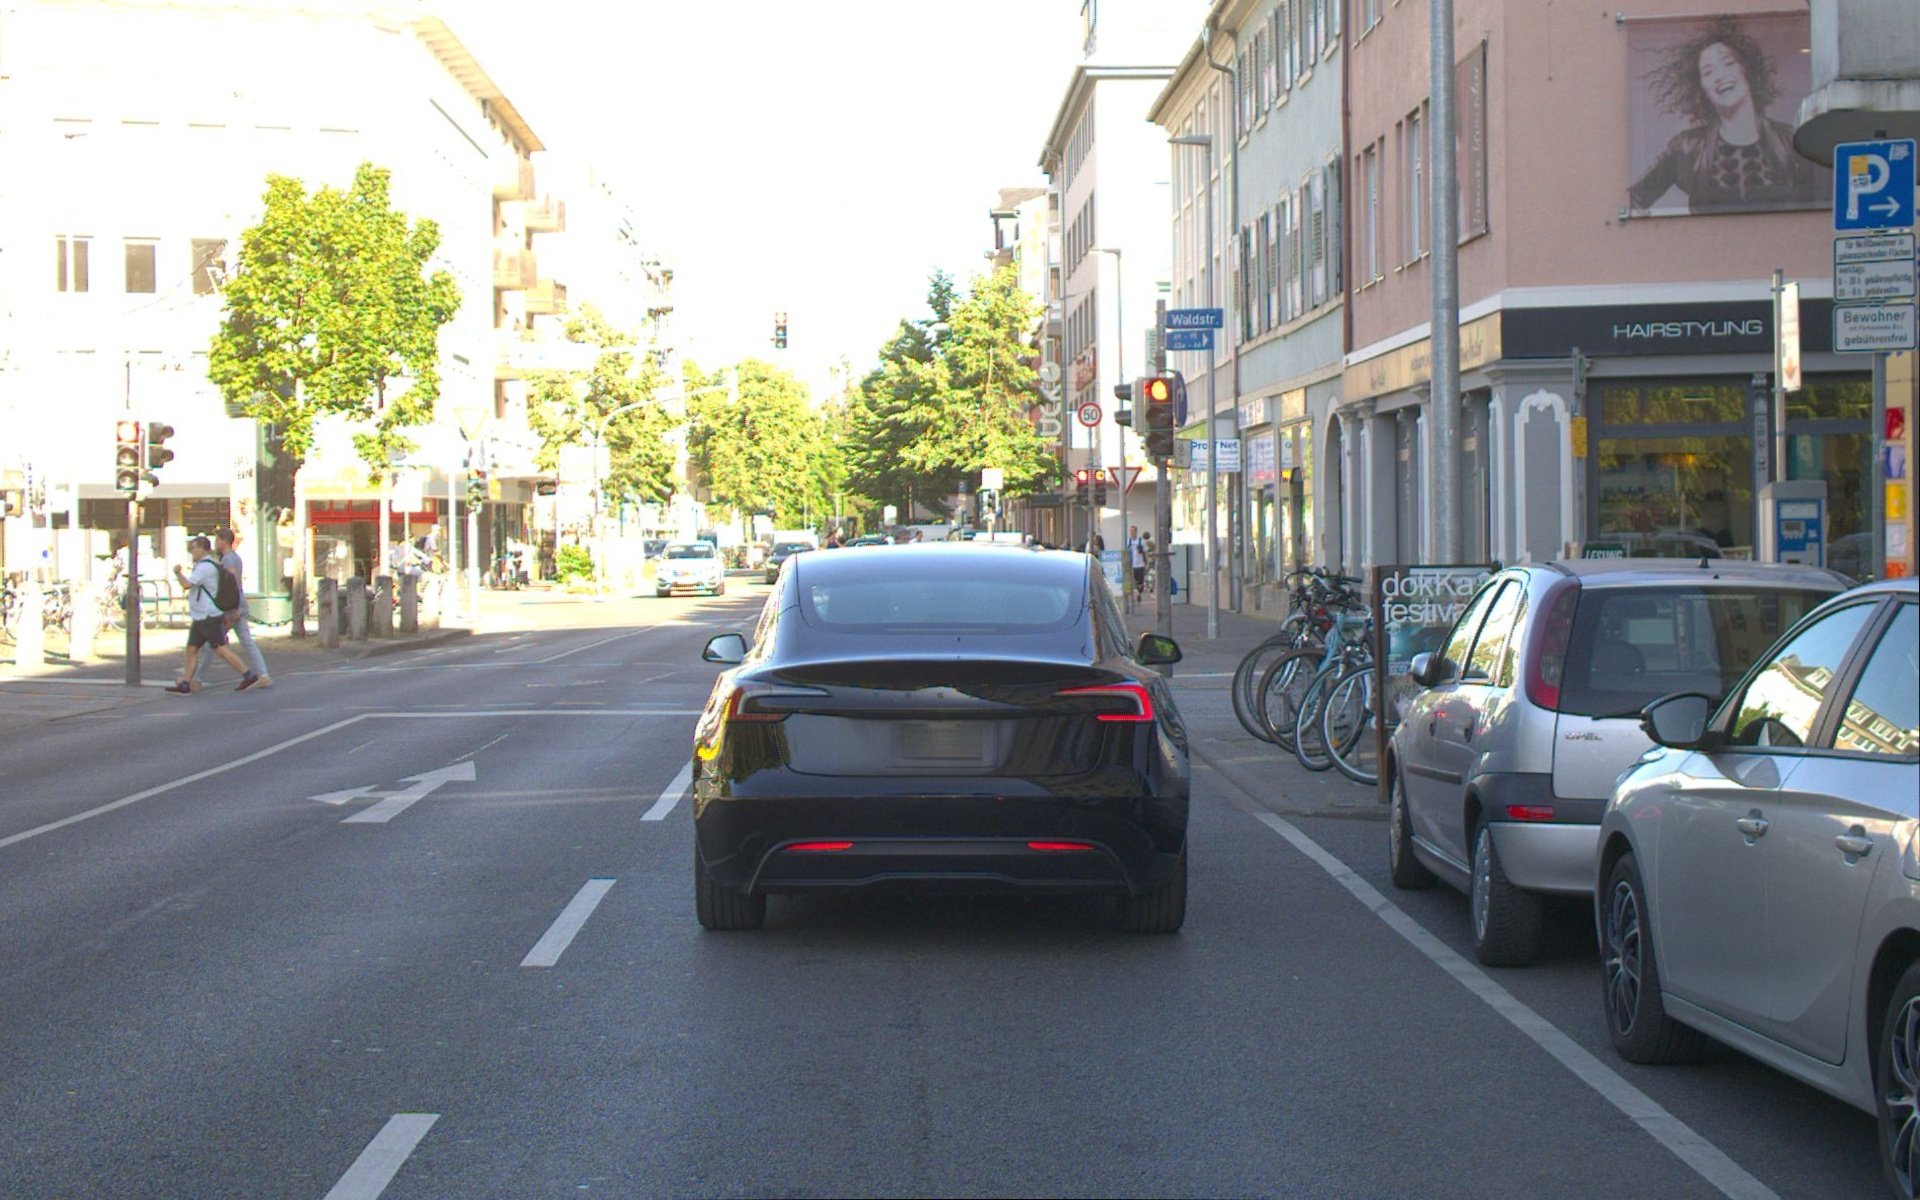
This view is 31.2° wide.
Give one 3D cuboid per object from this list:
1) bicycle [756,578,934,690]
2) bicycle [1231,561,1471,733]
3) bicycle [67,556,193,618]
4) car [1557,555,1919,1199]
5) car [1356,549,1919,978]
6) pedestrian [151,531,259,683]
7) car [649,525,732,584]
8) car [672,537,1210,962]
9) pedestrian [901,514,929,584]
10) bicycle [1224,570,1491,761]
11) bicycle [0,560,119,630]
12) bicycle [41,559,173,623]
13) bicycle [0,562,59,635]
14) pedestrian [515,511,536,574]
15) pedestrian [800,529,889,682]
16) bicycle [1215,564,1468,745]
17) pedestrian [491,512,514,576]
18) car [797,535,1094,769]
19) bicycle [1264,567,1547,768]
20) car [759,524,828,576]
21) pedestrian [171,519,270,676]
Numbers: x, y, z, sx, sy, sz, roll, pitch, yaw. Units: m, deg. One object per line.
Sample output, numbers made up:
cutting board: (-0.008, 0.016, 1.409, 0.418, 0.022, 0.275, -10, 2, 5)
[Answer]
bicycle: (-1.098, 0.319, 32.886, 1.616, 1.041, 0.591, 1, 1, 9)
bicycle: (2.771, 0.330, 24.426, 1.628, 1.156, 0.433, -2, 1, 1)
bicycle: (-14.941, -0.238, 61.908, 2.082, 1.100, 0.806, 0, 1, 0)
car: (2.727, 0.616, 8.552, 1.670, 1.422, 4.078, 0, 1, -2)
car: (2.551, 0.511, 13.269, 1.622, 1.389, 3.886, 0, 1, 0)
pedestrian: (-8.214, 0.069, 37.408, 0.986, 1.631, 0.737, 0, 1, 3)
car: (-7.643, -1.313, 97.912, 1.993, 1.535, 4.000, -4, 1, 0)
car: (-0.052, 0.481, 13.730, 1.850, 1.450, 3.786, 0, 1, 0)
pedestrian: (-1.295, -1.472, 99.059, 0.627, 2.007, 0.558, 1, 1, 24)
bicycle: (2.552, 0.416, 22.141, 1.627, 1.156, 0.433, -2, 1, -1)
bicycle: (-14.573, -0.085, 54.940, 2.082, 1.100, 0.806, 0, 1, 0)
bicycle: (-14.811, -0.157, 59.715, 2.082, 1.100, 0.806, 0, 1, 0)
bicycle: (-14.891, -0.026, 52.421, 2.082, 1.100, 0.806, 0, 1, 0)
pedestrian: (-13.801, -1.825, 109.202, 0.626, 2.007, 0.575, 0, 1, 0)
pedestrian: (-1.099, 0.049, 32.838, 0.743, 1.435, 0.582, 1, 1, 9)
bicycle: (2.579, 0.366, 23.284, 1.627, 1.156, 0.433, -2, 1, -1)
pedestrian: (-14.530, -1.786, 109.253, 0.626, 2.007, 0.707, 0, 1, 0)
car: (-0.078, 0.288, 23.387, 1.850, 1.450, 3.786, 0, 1, 0)
bicycle: (2.708, 0.405, 20.953, 1.627, 1.156, 0.433, -2, 1, -1)
car: (-5.601, -1.716, 116.022, 2.050, 1.721, 4.654, 0, 1, 1)
pedestrian: (-8.188, -0.038, 38.078, 0.901, 1.719, 0.744, 0, 1, 3)
